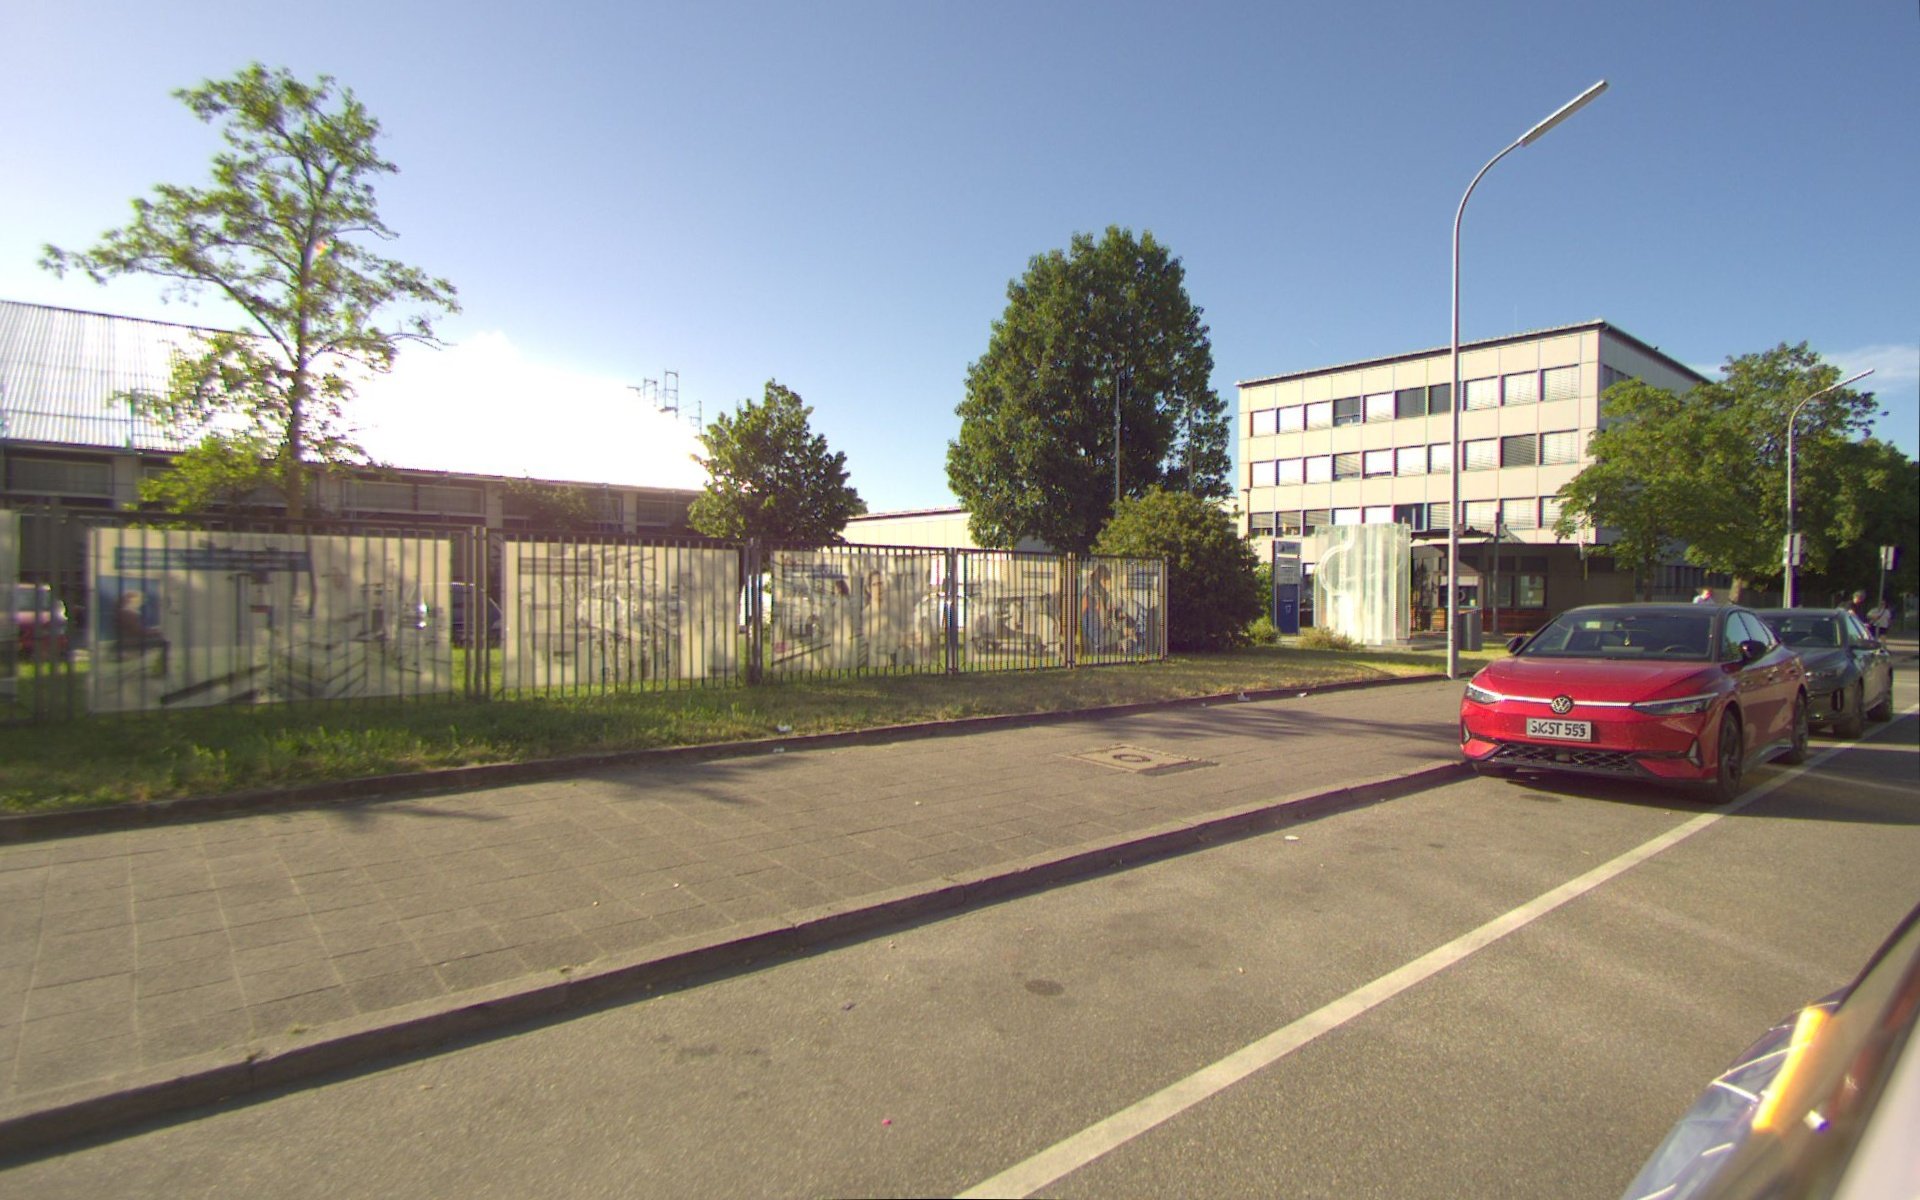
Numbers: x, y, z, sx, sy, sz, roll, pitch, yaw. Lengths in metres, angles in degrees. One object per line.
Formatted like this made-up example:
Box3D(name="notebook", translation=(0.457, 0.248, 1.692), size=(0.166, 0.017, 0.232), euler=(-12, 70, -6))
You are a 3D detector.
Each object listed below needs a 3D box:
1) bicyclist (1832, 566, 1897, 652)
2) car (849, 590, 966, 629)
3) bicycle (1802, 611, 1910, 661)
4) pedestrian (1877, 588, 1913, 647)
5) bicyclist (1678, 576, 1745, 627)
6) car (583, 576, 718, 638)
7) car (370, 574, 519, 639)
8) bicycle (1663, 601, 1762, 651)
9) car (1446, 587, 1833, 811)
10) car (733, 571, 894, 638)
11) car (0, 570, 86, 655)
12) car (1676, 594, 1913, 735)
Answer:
Box3D(name="bicyclist", translation=(22.230, 0.210, 24.862), size=(0.943, 2.038, 1.051), euler=(2, 1, -44))
Box3D(name="car", translation=(-1.862, 0.331, 34.855), size=(1.847, 1.268, 4.146), euler=(0, -1, -43))
Box3D(name="bicycle", translation=(22.081, 0.878, 24.963), size=(0.689, 1.021, 1.882), euler=(4, 2, -44))
Box3D(name="pedestrian", translation=(28.742, 0.533, 31.115), size=(0.762, 1.750, 0.692), euler=(0, 1, -41))
Box3D(name="bicyclist", translation=(19.250, 0.029, 25.950), size=(0.844, 1.284, 1.102), euler=(1, 0, -25))
Box3D(name="car", translation=(-7.703, 0.127, 25.020), size=(1.647, 1.397, 3.893), euler=(0, 1, -43))
Box3D(name="car", translation=(-11.194, 0.168, 21.853), size=(1.847, 1.268, 4.146), euler=(0, -1, -43))
Box3D(name="bicycle", translation=(19.167, 0.650, 25.818), size=(0.654, 1.157, 1.907), euler=(2, 1, -25))
Box3D(name="car", translation=(6.320, 0.690, 9.170), size=(4.640, 1.529, 1.811), euler=(0, -1, -42))
Box3D(name="car", translation=(-4.075, 0.067, 27.627), size=(4.630, 1.689, 1.968), euler=(1, 1, 45))
Box3D(name="car", translation=(-15.613, 0.217, 16.614), size=(1.797, 1.268, 4.146), euler=(0, -1, -43))
Box3D(name="car", translation=(10.681, 0.697, 12.845), size=(4.142, 1.506, 1.703), euler=(0, -1, -42))
